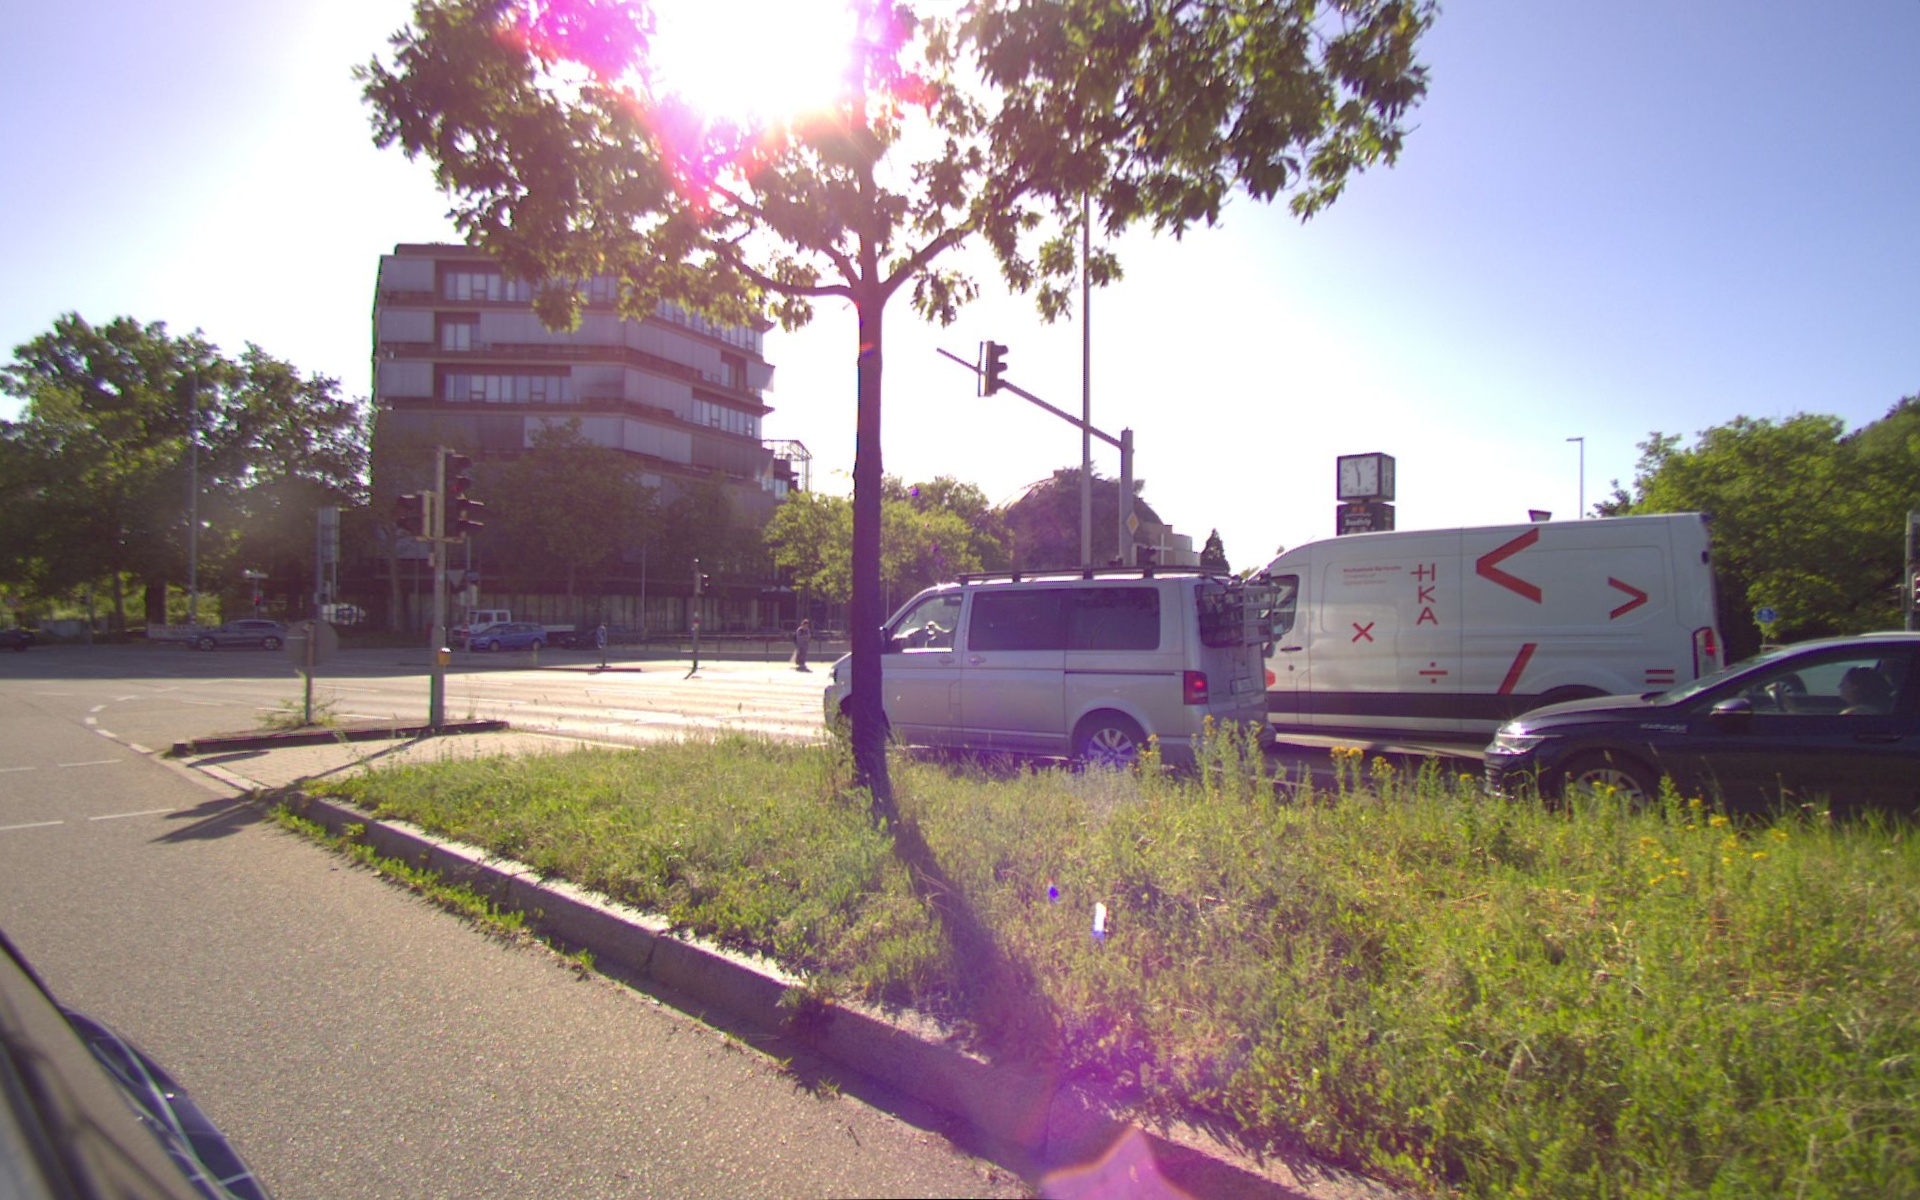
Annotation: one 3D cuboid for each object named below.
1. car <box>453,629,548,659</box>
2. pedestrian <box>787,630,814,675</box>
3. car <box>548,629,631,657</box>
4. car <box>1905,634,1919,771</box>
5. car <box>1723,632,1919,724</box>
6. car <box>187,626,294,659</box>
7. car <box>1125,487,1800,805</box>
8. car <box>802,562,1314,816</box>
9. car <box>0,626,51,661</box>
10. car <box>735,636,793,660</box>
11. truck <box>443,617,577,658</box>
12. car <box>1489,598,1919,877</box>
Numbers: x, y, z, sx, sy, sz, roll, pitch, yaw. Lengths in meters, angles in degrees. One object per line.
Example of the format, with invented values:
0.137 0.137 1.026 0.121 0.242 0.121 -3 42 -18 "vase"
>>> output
-24.812 2.350 54.790 1.945 1.552 4.410 -1 -2 31 "car"
-5.306 1.751 33.650 0.695 1.474 0.679 0 -2 10 "pedestrian"
-21.830 2.515 59.813 1.945 1.552 4.410 -1 -2 31 "car"
12.120 1.076 9.521 4.498 1.476 1.918 -1 -2 37 "car"
17.108 1.396 18.802 1.754 1.547 4.343 -1 -1 -25 "car"
-38.070 2.237 53.606 4.438 1.657 1.883 1 -2 -40 "car"
4.948 0.438 10.862 6.076 2.596 1.919 -1 -2 36 "car"
0.826 0.767 10.318 4.921 2.023 1.919 -1 -2 36 "car"
-47.982 2.128 50.037 4.128 1.713 1.819 0 -1 -11 "car"
-14.985 3.624 77.399 1.814 1.713 4.140 -1 -2 40 "car"
-28.017 2.297 63.311 2.165 2.378 7.406 -1 -2 44 "truck"
6.176 0.824 6.720 4.496 1.635 1.919 -1 -2 36 "car"
